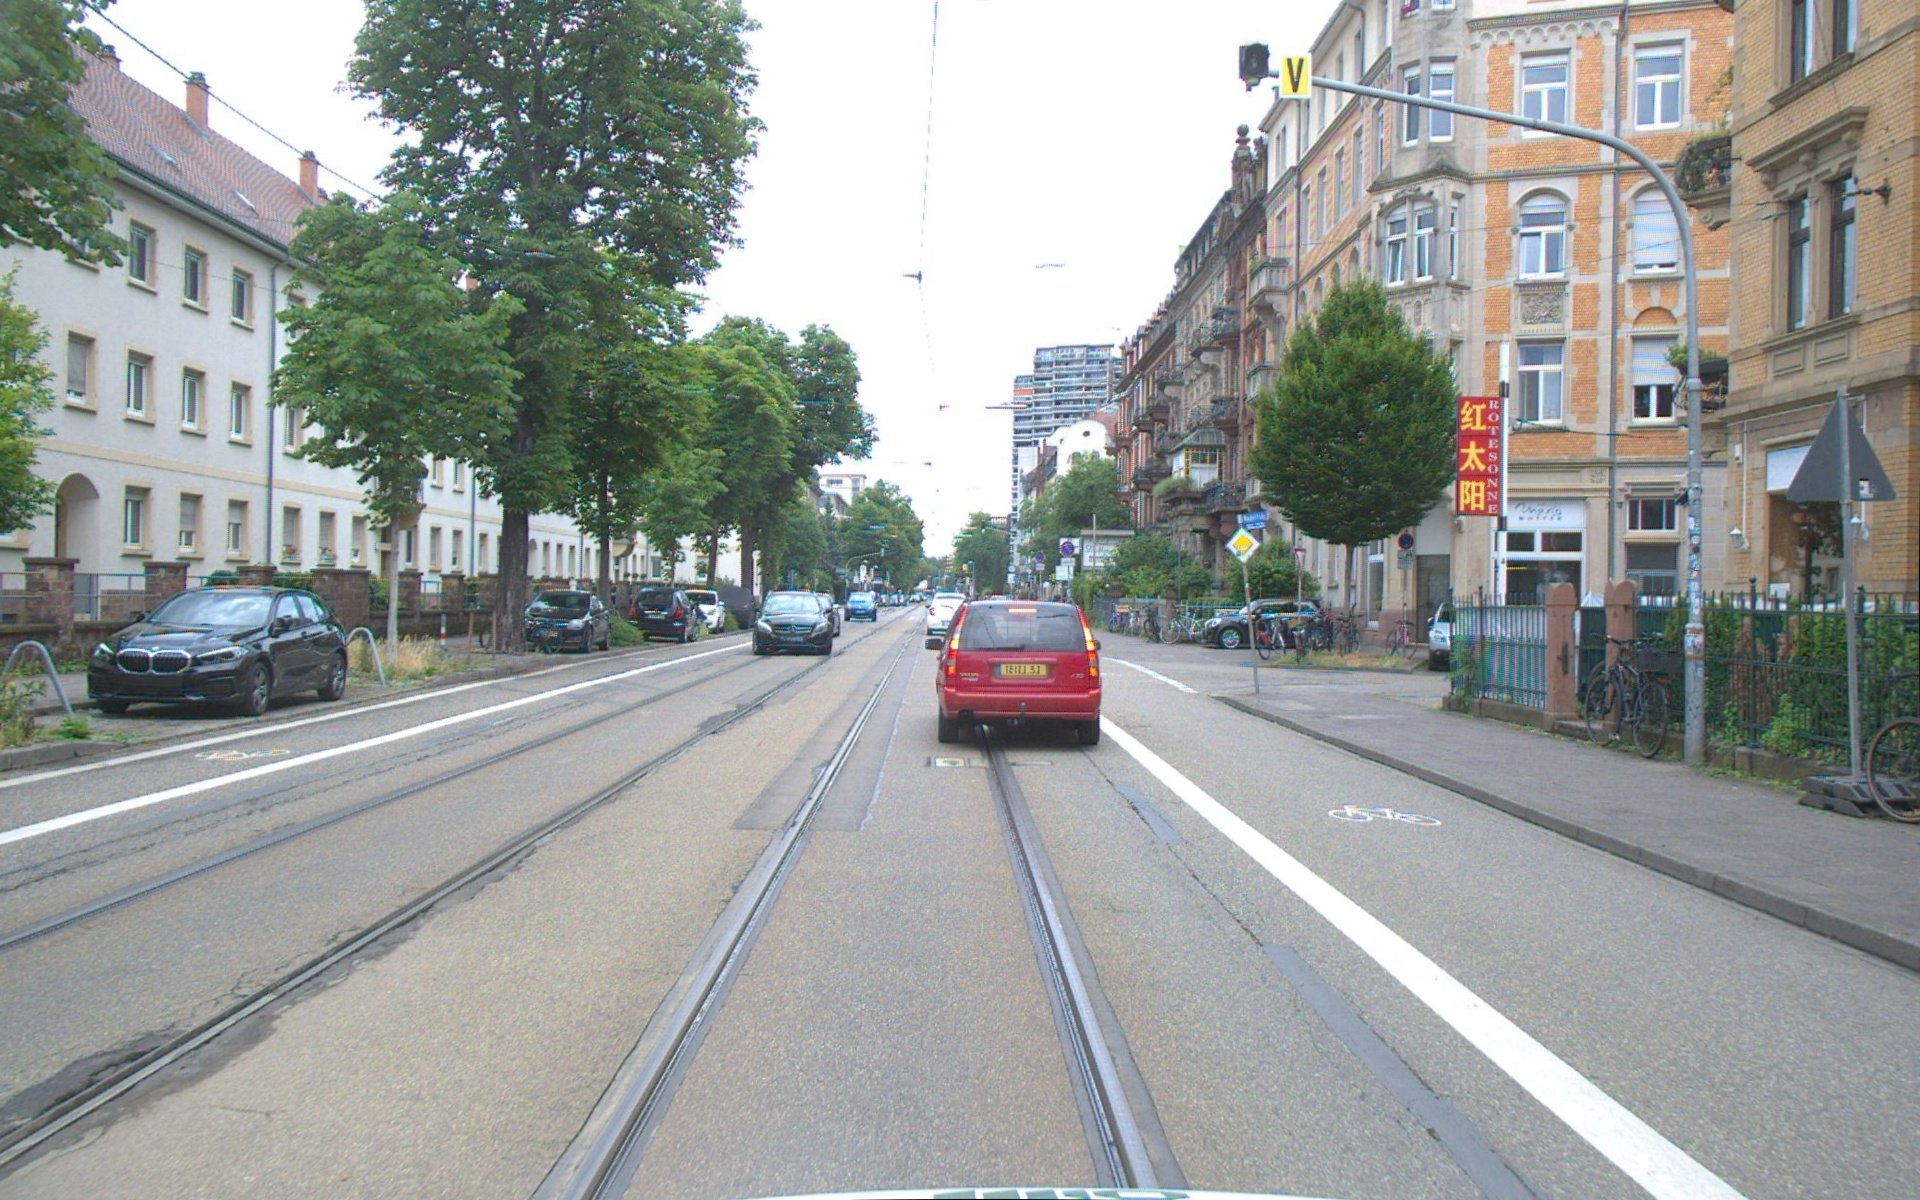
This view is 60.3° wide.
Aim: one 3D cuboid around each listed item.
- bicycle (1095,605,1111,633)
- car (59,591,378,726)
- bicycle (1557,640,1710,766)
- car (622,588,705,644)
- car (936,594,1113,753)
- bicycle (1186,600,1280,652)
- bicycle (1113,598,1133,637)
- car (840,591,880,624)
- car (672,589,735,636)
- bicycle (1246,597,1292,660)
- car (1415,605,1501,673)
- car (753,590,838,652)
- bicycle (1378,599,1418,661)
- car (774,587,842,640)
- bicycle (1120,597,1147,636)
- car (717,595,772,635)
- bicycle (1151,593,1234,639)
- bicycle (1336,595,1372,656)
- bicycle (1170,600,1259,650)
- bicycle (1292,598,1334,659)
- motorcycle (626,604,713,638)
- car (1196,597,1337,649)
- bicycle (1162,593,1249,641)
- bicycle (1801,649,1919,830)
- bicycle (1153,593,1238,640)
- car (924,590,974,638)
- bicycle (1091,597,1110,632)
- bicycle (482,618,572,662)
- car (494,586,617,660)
[{"bbox_3d":[5.809,0.775,67.175,0.480,1.118,1.733,1,0,-1],"label":"bicycle"},{"bbox_3d":[-8.810,0.626,20.121,1.851,1.422,4.417,1,0,0],"label":"car"},{"bbox_3d":[6.403,0.946,15.850,0.512,1.048,2.176,-2,0,-1],"label":"bicycle"},{"bbox_3d":[-8.902,0.463,49.997,1.813,1.590,3.942,1,0,-1],"label":"car"},{"bbox_3d":[0.585,0.693,17.572,1.655,1.466,3.742,1,0,-1],"label":"car"},{"bbox_3d":[9.075,0.862,55.009,2.916,1.653,1.049,1,0,-3],"label":"bicycle"},{"bbox_3d":[6.008,0.631,61.089,0.540,1.424,1.733,1,0,-1],"label":"bicycle"},{"bbox_3d":[-5.319,0.383,88.102,1.855,1.639,4.499,2,0,-1],"label":"car"},{"bbox_3d":[-9.478,0.433,61.256,1.678,1.608,4.000,2,0,-1],"label":"car"},{"bbox_3d":[7.841,0.705,41.869,0.898,1.533,2.382,2,0,16],"label":"bicycle"},{"bbox_3d":[12.123,0.910,40.205,1.870,1.510,4.171,1,0,17],"label":"car"},{"bbox_3d":[-3.900,0.471,39.798,1.720,1.404,4.025,1,0,-2],"label":"car"},{"bbox_3d":[11.241,0.747,42.393,0.898,1.533,2.382,1,0,16],"label":"bicycle"},{"bbox_3d":[-4.971,0.423,54.515,1.855,1.639,4.499,1,0,-1],"label":"car"},{"bbox_3d":[6.013,0.552,57.262,0.694,1.323,1.904,1,0,-1],"label":"bicycle"},{"bbox_3d":[-8.532,0.573,65.846,1.685,1.512,4.000,1,0,-1],"label":"car"},{"bbox_3d":[8.673,0.587,61.820,2.916,1.653,1.049,1,0,-3],"label":"bicycle"},{"bbox_3d":[10.259,0.651,43.035,0.773,1.533,2.382,1,0,16],"label":"bicycle"},{"bbox_3d":[8.902,0.865,58.006,2.916,1.653,1.049,1,0,-3],"label":"bicycle"},{"bbox_3d":[9.243,0.733,43.239,0.898,1.533,2.382,1,0,16],"label":"bicycle"},{"bbox_3d":[-9.841,0.714,56.148,2.815,1.096,1.098,1,0,-8],"label":"motorcycle"},{"bbox_3d":[8.811,0.651,47.712,3.902,1.385,1.894,1,0,9],"label":"car"},{"bbox_3d":[8.829,0.601,59.446,2.916,1.653,1.049,1,0,-3],"label":"bicycle"},{"bbox_3d":[6.460,0.927,11.068,0.512,1.119,2.176,-1,0,-1],"label":"bicycle"},{"bbox_3d":[8.636,0.591,60.646,2.916,1.653,1.049,1,0,-3],"label":"bicycle"},{"bbox_3d":[-0.358,0.481,60.508,1.683,1.653,3.941,1,0,1],"label":"car"},{"bbox_3d":[6.026,0.608,70.924,0.544,1.483,2.985,1,0,0],"label":"bicycle"},{"bbox_3d":[-9.165,0.845,35.065,1.713,0.858,0.684,1,0,0],"label":"bicycle"},{"bbox_3d":[-8.962,0.475,36.968,1.682,1.508,4.000,1,0,1],"label":"car"}]
